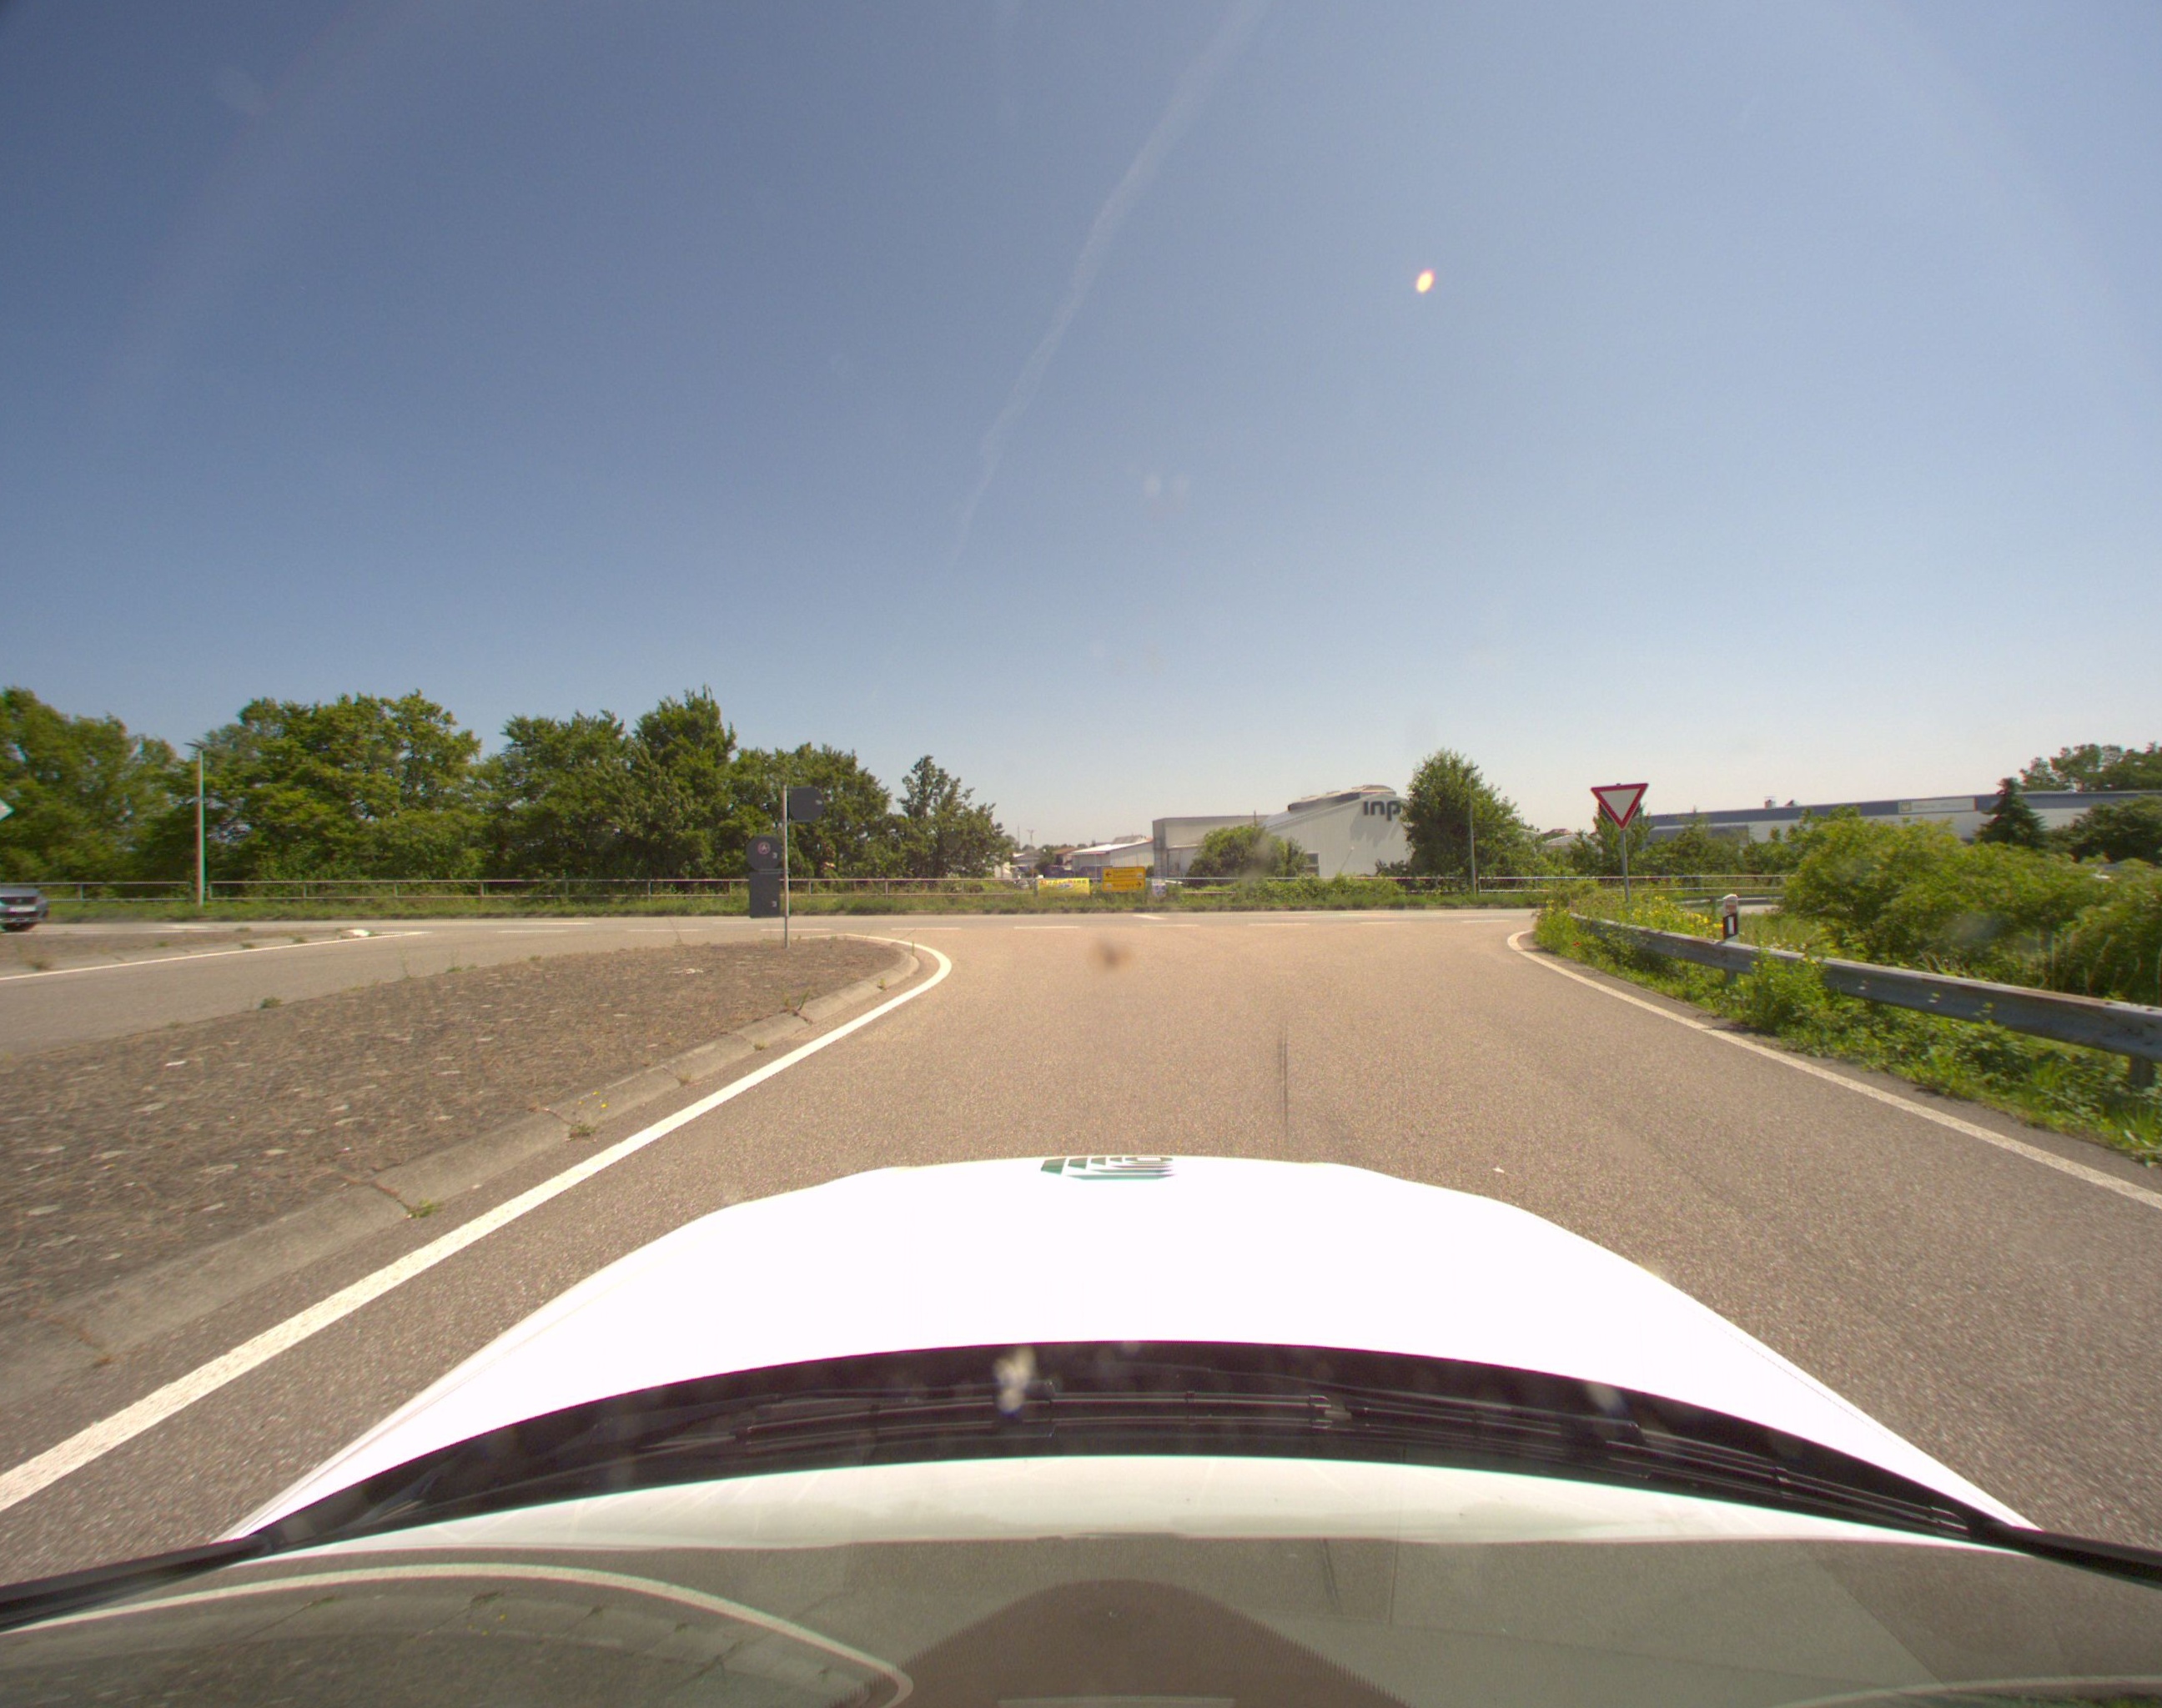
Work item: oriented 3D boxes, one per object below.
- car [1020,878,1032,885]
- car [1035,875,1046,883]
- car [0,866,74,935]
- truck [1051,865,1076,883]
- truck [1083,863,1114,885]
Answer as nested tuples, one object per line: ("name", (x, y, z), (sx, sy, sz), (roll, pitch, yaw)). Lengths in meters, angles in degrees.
("car", (-12.660, 6.268, 186.107), (1.996, 1.731, 4.839), (0, -1, -14))
("car", (-9.587, 5.912, 192.874), (1.719, 2.014, 3.981), (0, -1, -14))
("car", (-26.831, 1.059, 18.749), (4.474, 1.583, 1.793), (0, -2, -9))
("truck", (-4.575, 5.104, 204.341), (3.415, 4.311, 14.526), (0, -1, -13))
("truck", (3.513, 4.199, 170.790), (3.711, 4.311, 13.285), (0, -1, -12))
